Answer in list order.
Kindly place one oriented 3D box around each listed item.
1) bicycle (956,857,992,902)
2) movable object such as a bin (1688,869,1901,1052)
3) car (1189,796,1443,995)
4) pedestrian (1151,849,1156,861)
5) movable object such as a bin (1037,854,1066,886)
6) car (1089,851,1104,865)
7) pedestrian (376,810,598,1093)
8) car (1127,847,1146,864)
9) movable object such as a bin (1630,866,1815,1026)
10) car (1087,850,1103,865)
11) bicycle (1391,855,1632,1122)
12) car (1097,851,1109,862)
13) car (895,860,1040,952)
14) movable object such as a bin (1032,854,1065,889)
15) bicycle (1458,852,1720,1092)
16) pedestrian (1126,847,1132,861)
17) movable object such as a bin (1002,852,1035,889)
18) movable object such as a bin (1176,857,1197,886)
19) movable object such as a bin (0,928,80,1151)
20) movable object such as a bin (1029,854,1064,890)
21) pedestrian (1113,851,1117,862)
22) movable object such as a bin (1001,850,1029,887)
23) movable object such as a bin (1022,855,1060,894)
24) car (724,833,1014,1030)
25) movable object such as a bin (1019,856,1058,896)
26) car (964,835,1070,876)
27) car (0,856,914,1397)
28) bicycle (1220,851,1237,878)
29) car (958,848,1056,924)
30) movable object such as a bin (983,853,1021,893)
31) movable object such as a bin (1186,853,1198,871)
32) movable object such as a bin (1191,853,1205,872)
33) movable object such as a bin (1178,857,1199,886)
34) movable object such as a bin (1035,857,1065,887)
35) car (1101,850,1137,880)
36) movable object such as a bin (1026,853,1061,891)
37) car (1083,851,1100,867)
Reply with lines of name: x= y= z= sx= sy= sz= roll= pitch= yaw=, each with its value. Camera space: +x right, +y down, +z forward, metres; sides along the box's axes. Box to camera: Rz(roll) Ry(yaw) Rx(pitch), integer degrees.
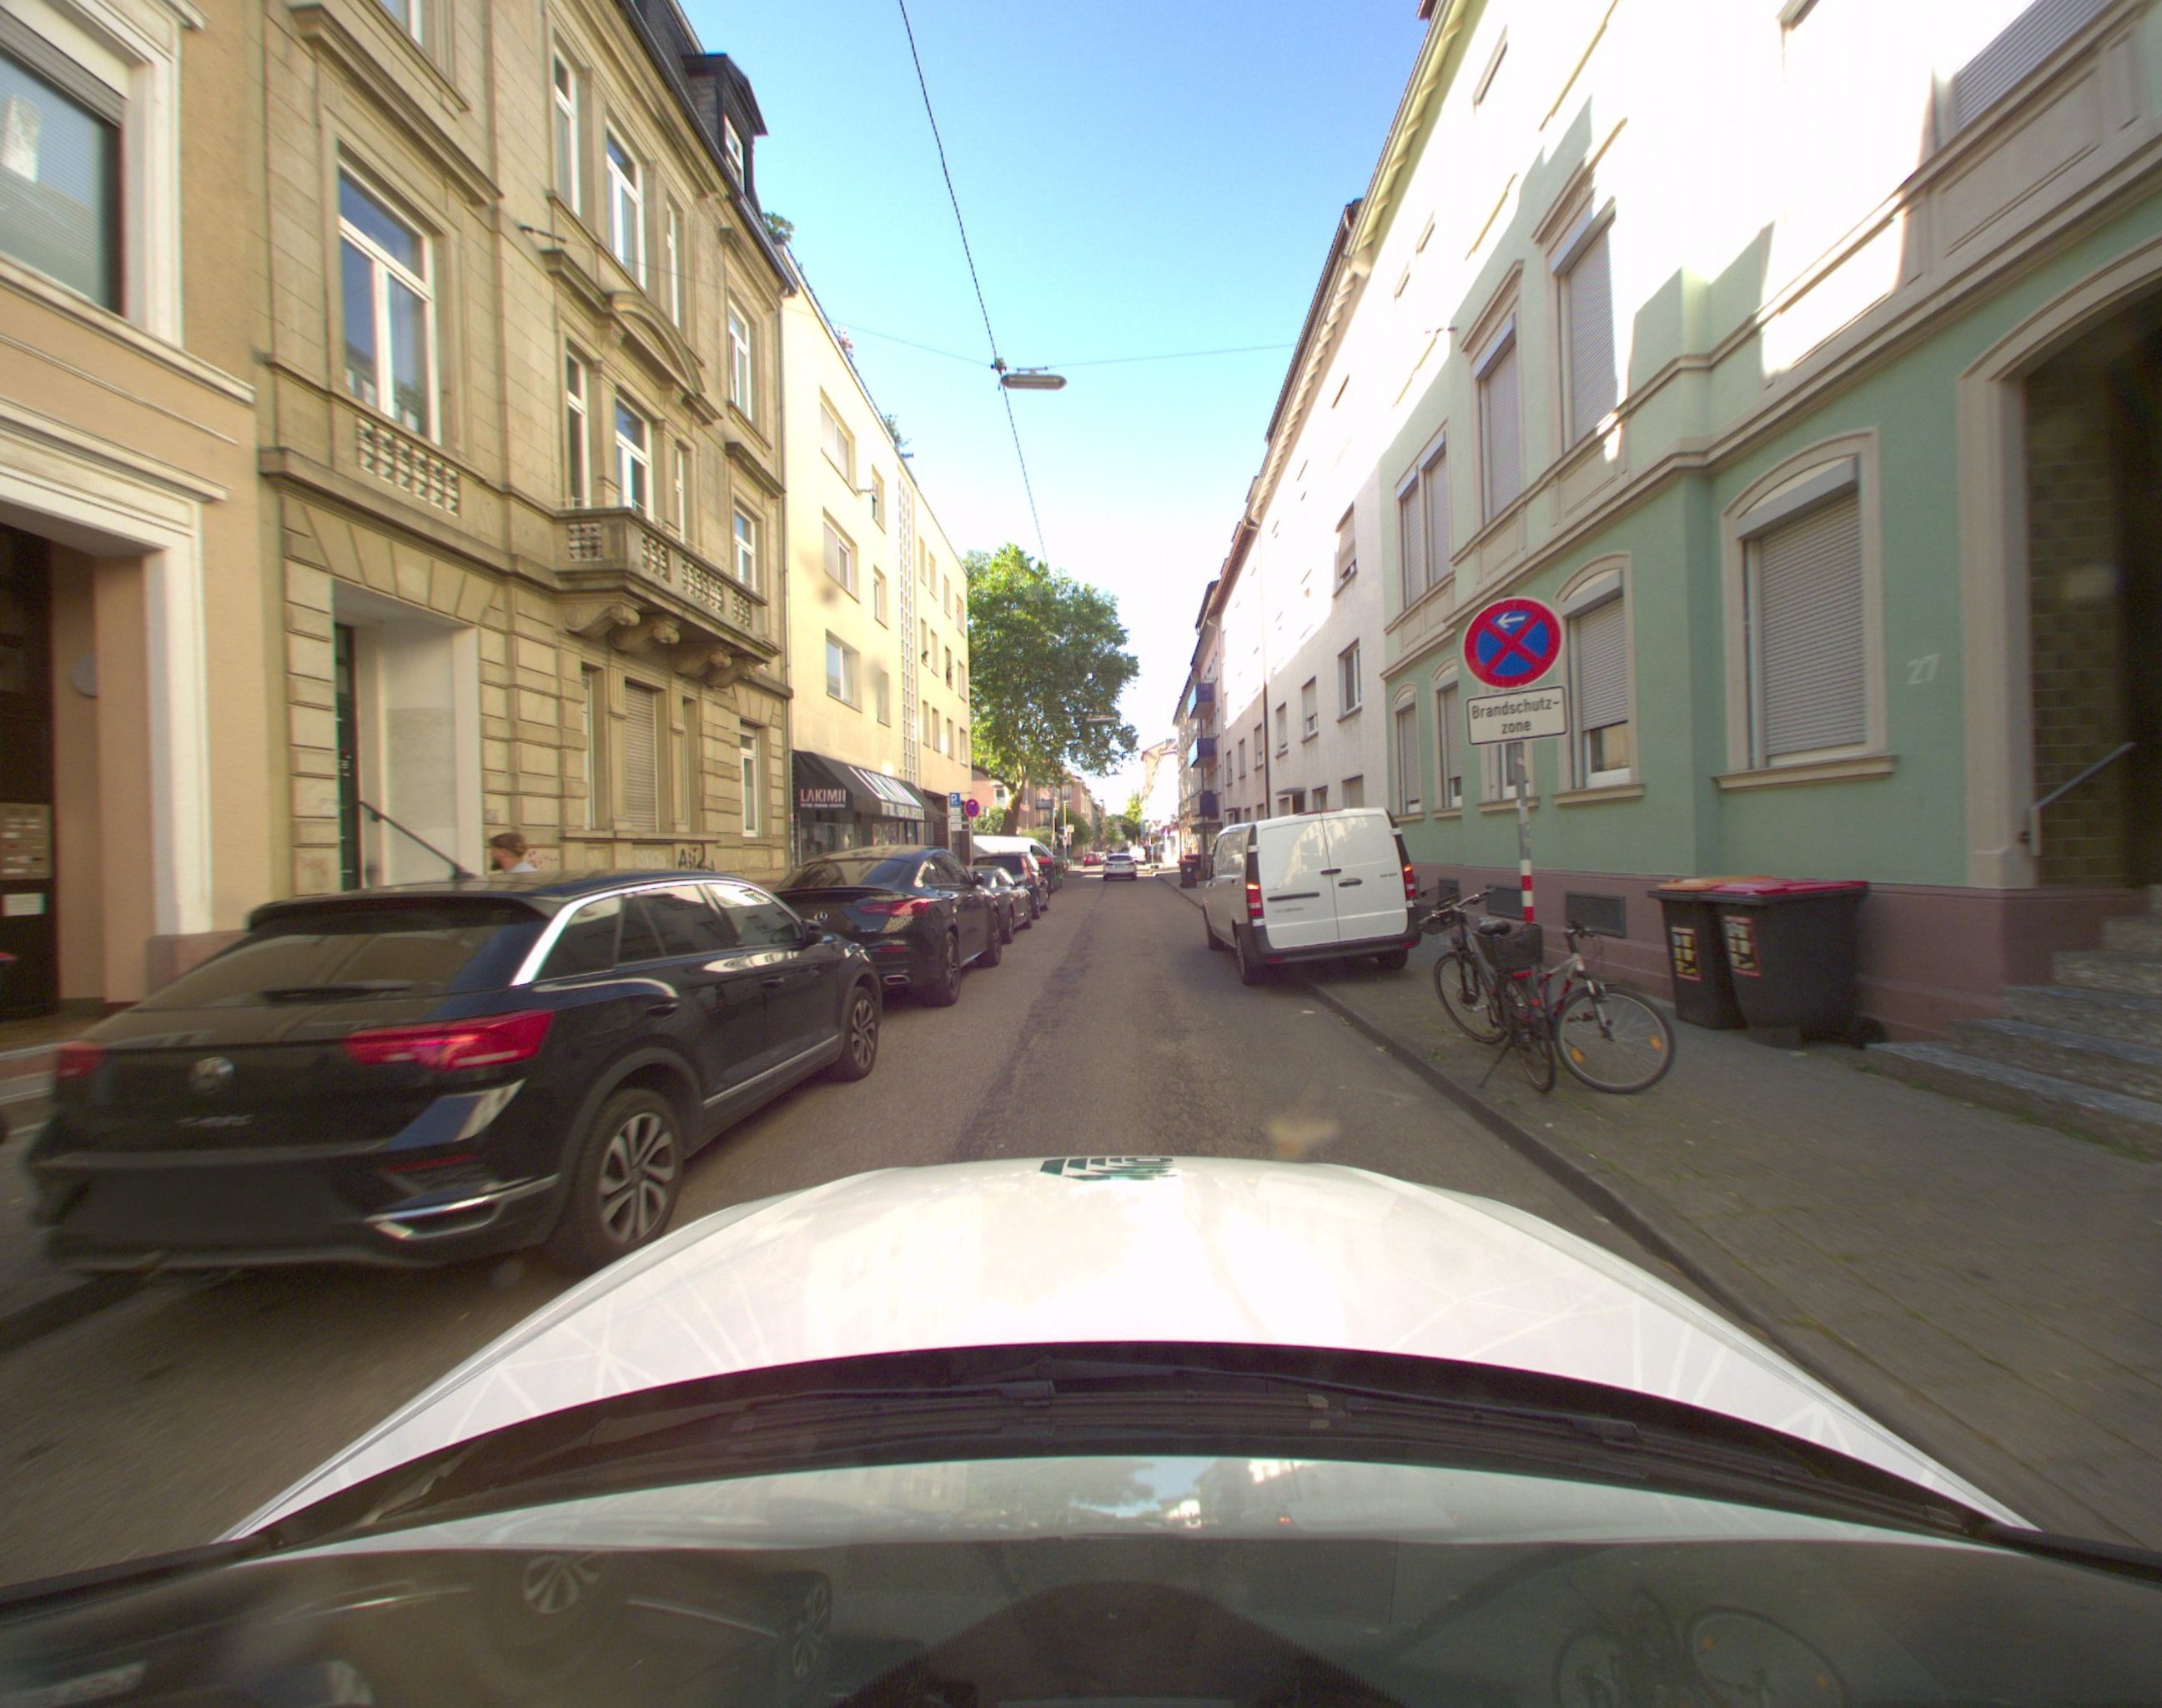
bicycle: x=-3.303 y=0.799 z=25.291 sx=0.462 sy=1.331 sz=1.860 roll=2 pitch=-1 yaw=11
movable object such as a bin: x=4.637 y=0.665 z=5.347 sx=0.793 sy=1.096 sz=0.643 roll=-2 pitch=-1 yaw=5
car: x=2.798 y=0.414 z=11.224 sx=1.975 sy=1.883 sz=5.604 roll=-5 pitch=0 yaw=3
pedestrian: x=10.528 y=0.094 z=118.725 sx=0.615 sy=1.733 sz=0.560 roll=-2 pitch=-1 yaw=2
movable object such as a bin: x=-1.378 y=0.744 z=38.053 sx=1.296 sy=1.451 sz=1.117 roll=-1 pitch=-1 yaw=-1
car: x=1.979 y=0.470 z=102.033 sx=1.628 sy=1.656 sz=3.788 roll=-2 pitch=-1 yaw=4
pedestrian: x=-4.173 y=0.644 z=5.797 sx=0.862 sy=1.836 sz=0.885 roll=-2 pitch=-1 yaw=5
car: x=6.404 y=0.194 z=93.931 sx=1.936 sy=1.948 sz=4.078 roll=-1 pitch=0 yaw=1
movable object such as a bin: x=4.697 y=0.651 z=6.017 sx=0.808 sy=1.088 sz=0.674 roll=-2 pitch=-1 yaw=5
car: x=1.682 y=0.464 z=96.522 sx=1.713 sy=1.682 sz=3.730 roll=-2 pitch=0 yaw=4
bicycle: x=2.613 y=0.693 z=5.260 sx=0.572 sy=1.320 sz=2.203 roll=-3 pitch=0 yaw=7
car: x=3.344 y=0.439 z=123.118 sx=1.566 sy=1.585 sz=3.614 roll=-2 pitch=-1 yaw=4
car: x=-2.003 y=0.885 z=15.910 sx=1.837 sy=1.417 sz=4.822 roll=-3 pitch=-1 yaw=3
movable object such as a bin: x=-1.420 y=0.764 z=35.861 sx=1.329 sy=1.491 sz=1.082 roll=-1 pitch=-1 yaw=2
bicycle: x=3.280 y=0.648 z=5.553 sx=0.572 sy=1.271 sz=2.203 roll=-4 pitch=0 yaw=7
pedestrian: x=7.302 y=0.040 z=123.936 sx=0.768 sy=2.118 sz=0.835 roll=-2 pitch=-1 yaw=4
movable object such as a bin: x=-2.746 y=0.726 z=35.903 sx=1.283 sy=1.604 sz=1.082 roll=-1 pitch=-1 yaw=2
movable object such as a bin: x=4.128 y=0.690 z=31.863 sx=0.764 sy=1.086 sz=0.694 roll=-2 pitch=-1 yaw=4
movable object such as a bin: x=-6.005 y=0.995 z=4.285 sx=0.717 sy=1.132 sz=0.584 roll=-2 pitch=-1 yaw=-1
movable object such as a bin: x=-1.460 y=0.750 z=34.793 sx=1.338 sy=1.499 sz=1.019 roll=-1 pitch=-1 yaw=2
pedestrian: x=5.729 y=0.399 z=136.986 sx=0.644 sy=1.797 sz=0.640 roll=-2 pitch=-1 yaw=4
movable object such as a bin: x=-3.003 y=0.669 z=37.185 sx=1.224 sy=1.653 sz=1.172 roll=-1 pitch=-1 yaw=-3
movable object such as a bin: x=-1.582 y=0.809 z=32.714 sx=1.328 sy=1.484 sz=1.094 roll=-3 pitch=-1 yaw=2
car: x=-2.181 y=0.716 z=10.110 sx=1.928 sy=1.736 sz=5.146 roll=-3 pitch=0 yaw=3
movable object such as a bin: x=-1.649 y=0.825 z=31.541 sx=1.314 sy=1.450 sz=1.188 roll=-3 pitch=-1 yaw=2
car: x=-4.232 y=0.095 z=54.351 sx=6.708 sy=2.555 sz=2.148 roll=1 pitch=-1 yaw=4
car: x=-2.442 y=0.828 z=4.592 sx=1.705 sy=1.531 sz=4.372 roll=-3 pitch=0 yaw=5
bicycle: x=6.425 y=0.455 z=35.481 sx=0.451 sy=1.134 sz=1.922 roll=-4 pitch=0 yaw=5
car: x=-1.797 y=0.741 z=21.292 sx=1.775 sy=1.666 sz=4.674 roll=-3 pitch=0 yaw=3
movable object such as a bin: x=-3.048 y=0.741 z=31.606 sx=1.291 sy=1.498 sz=1.179 roll=-1 pitch=-1 yaw=3
movable object such as a bin: x=6.984 y=0.514 z=51.240 sx=0.698 sy=1.073 sz=0.597 roll=-2 pitch=-1 yaw=4
movable object such as a bin: x=7.084 y=0.504 z=49.287 sx=0.727 sy=1.104 sz=0.693 roll=-2 pitch=-1 yaw=1
movable object such as a bin: x=4.097 y=0.677 z=31.150 sx=0.729 sy=1.081 sz=0.704 roll=-2 pitch=-1 yaw=4
movable object such as a bin: x=-1.406 y=0.827 z=36.953 sx=1.236 sy=1.322 sz=1.046 roll=-1 pitch=-1 yaw=2
car: x=2.051 y=0.585 z=44.443 sx=1.816 sy=1.514 sz=3.826 roll=-2 pitch=0 yaw=2
movable object such as a bin: x=-1.536 y=0.740 z=33.759 sx=1.343 sy=1.487 sz=1.004 roll=-1 pitch=-1 yaw=2
car: x=1.189 y=0.521 z=90.935 sx=1.763 sy=1.588 sz=3.729 roll=-2 pitch=1 yaw=2
